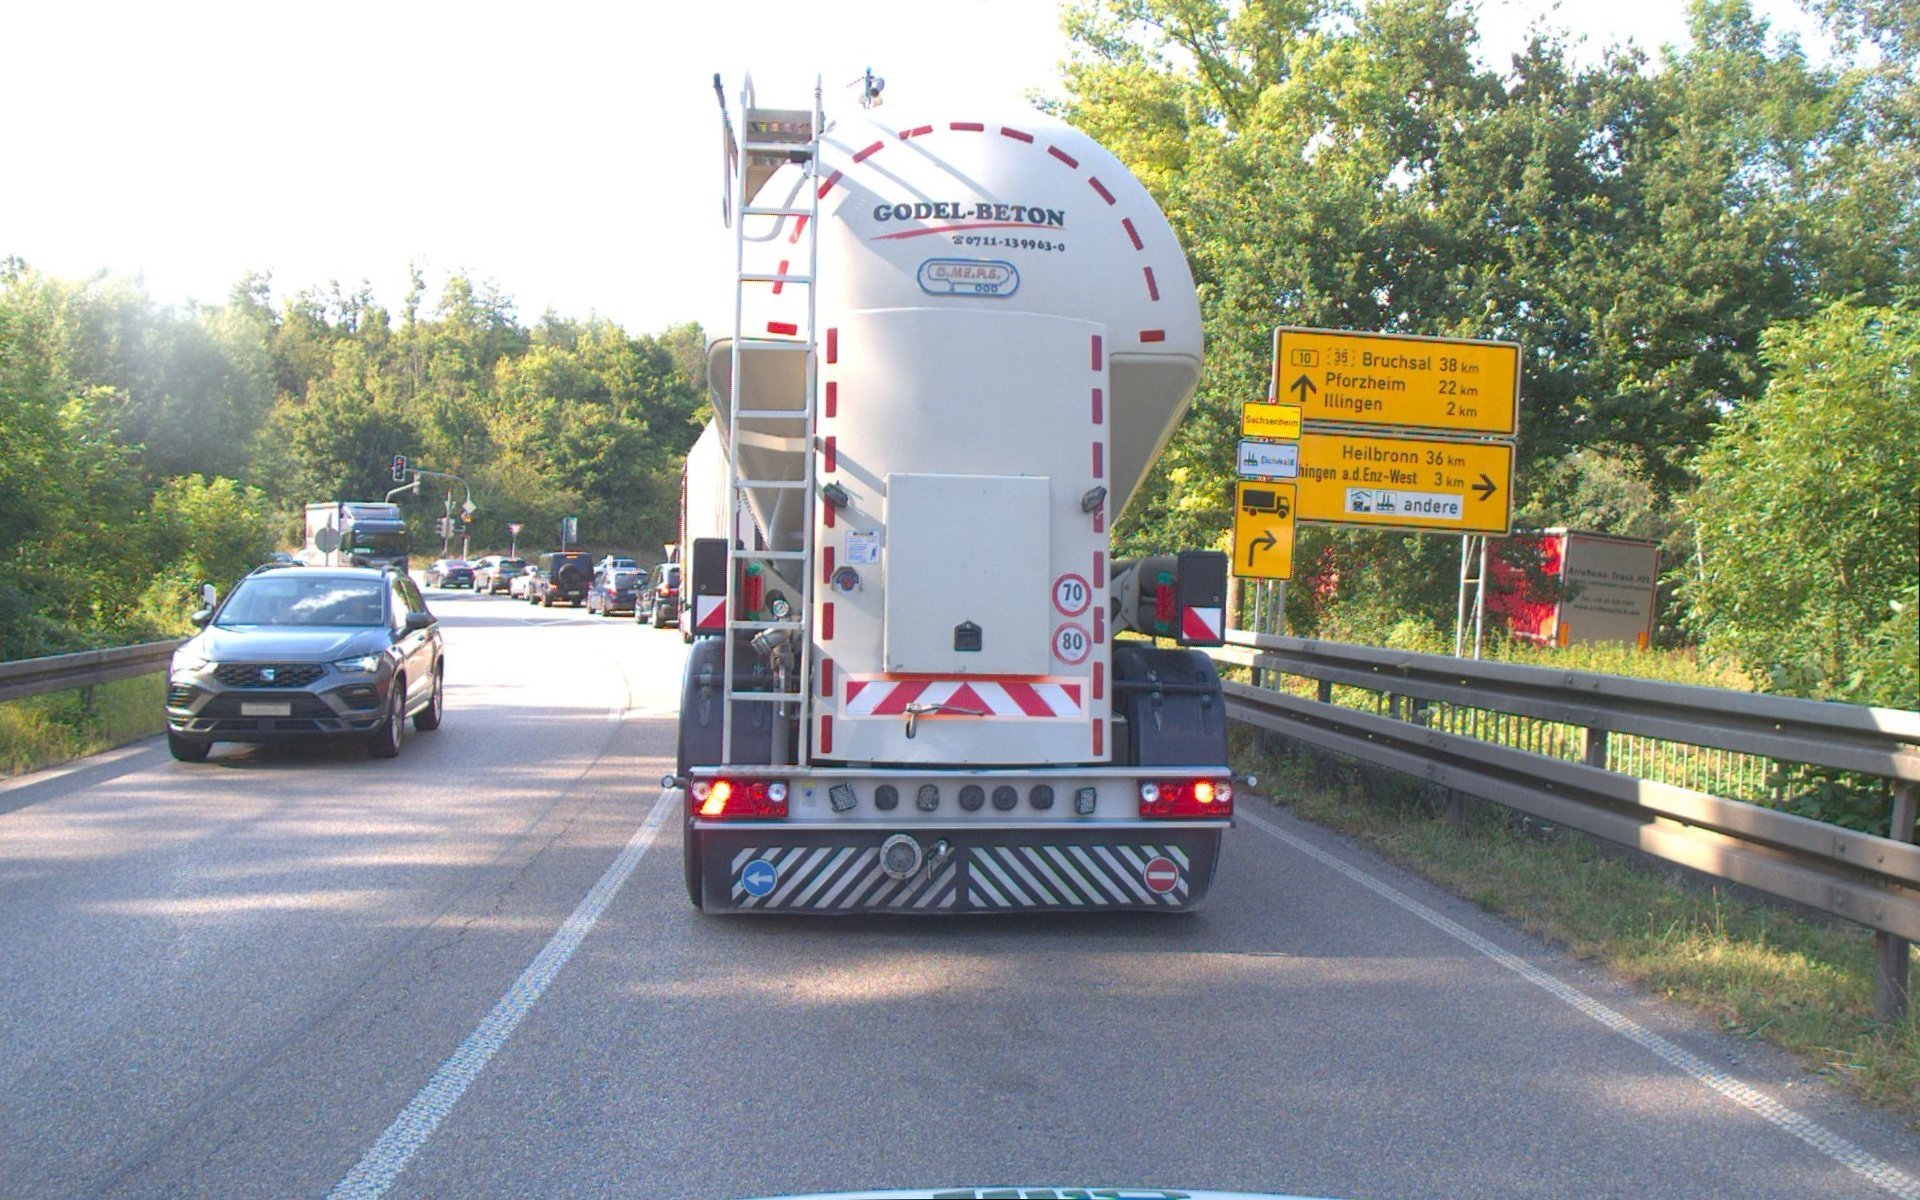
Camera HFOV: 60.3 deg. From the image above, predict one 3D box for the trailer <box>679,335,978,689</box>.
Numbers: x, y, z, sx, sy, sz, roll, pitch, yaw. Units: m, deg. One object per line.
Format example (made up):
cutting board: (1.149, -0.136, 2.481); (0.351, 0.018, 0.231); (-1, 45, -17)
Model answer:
trailer: (-2.803, -1.192, 28.519); (3.483, 4.591, 12.947); (2, 0, -11)

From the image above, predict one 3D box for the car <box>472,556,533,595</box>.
car: (-20.813, -1.144, 75.093); (1.846, 1.622, 3.965); (3, 0, -27)

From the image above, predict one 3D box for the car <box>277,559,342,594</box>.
car: (-38.241, -1.383, 97.367); (1.828, 1.884, 4.003); (3, 0, 6)

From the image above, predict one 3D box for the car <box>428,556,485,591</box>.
car: (-25.116, -1.319, 82.473); (1.847, 1.592, 3.961); (3, 0, -29)

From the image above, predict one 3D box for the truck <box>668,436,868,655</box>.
truck: (-4.273, -1.068, 35.435); (3.391, 4.157, 6.468); (2, 0, -14)

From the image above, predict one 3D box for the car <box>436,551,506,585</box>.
car: (-32.428, -2.106, 109.666); (3.963, 2.048, 1.971); (3, 0, -41)

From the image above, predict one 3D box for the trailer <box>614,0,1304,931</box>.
trailer: (-0.480, -0.934, 11.658); (2.831, 4.532, 9.593); (1, 0, -6)

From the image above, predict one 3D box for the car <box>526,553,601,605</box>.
car: (-14.955, -0.827, 62.215); (1.933, 1.883, 3.966); (-1, 2, -26)

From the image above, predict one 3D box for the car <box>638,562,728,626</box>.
car: (-7.659, -0.202, 45.509); (1.839, 1.656, 3.979); (0, 1, -18)

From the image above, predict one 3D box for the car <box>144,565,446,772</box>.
car: (-5.800, 0.486, 14.909); (1.835, 1.592, 3.989); (0, 1, -12)

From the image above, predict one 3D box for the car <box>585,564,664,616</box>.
car: (-10.900, -0.357, 53.531); (1.841, 1.592, 3.974); (-1, 1, -21)

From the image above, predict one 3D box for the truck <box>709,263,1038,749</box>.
truck: (-1.095, -0.802, 17.125); (2.771, 4.105, 5.885); (1, 0, -7)

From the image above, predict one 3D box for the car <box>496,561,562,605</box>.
car: (-18.306, -0.753, 70.194); (1.846, 1.712, 3.965); (3, 0, -27)

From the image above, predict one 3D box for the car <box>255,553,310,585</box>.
car: (-36.312, -1.657, 88.781); (1.833, 1.584, 3.991); (3, 0, -10)

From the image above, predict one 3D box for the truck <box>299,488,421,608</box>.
truck: (-25.733, -2.124, 70.558); (2.981, 4.665, 10.135); (1, 0, -31)
